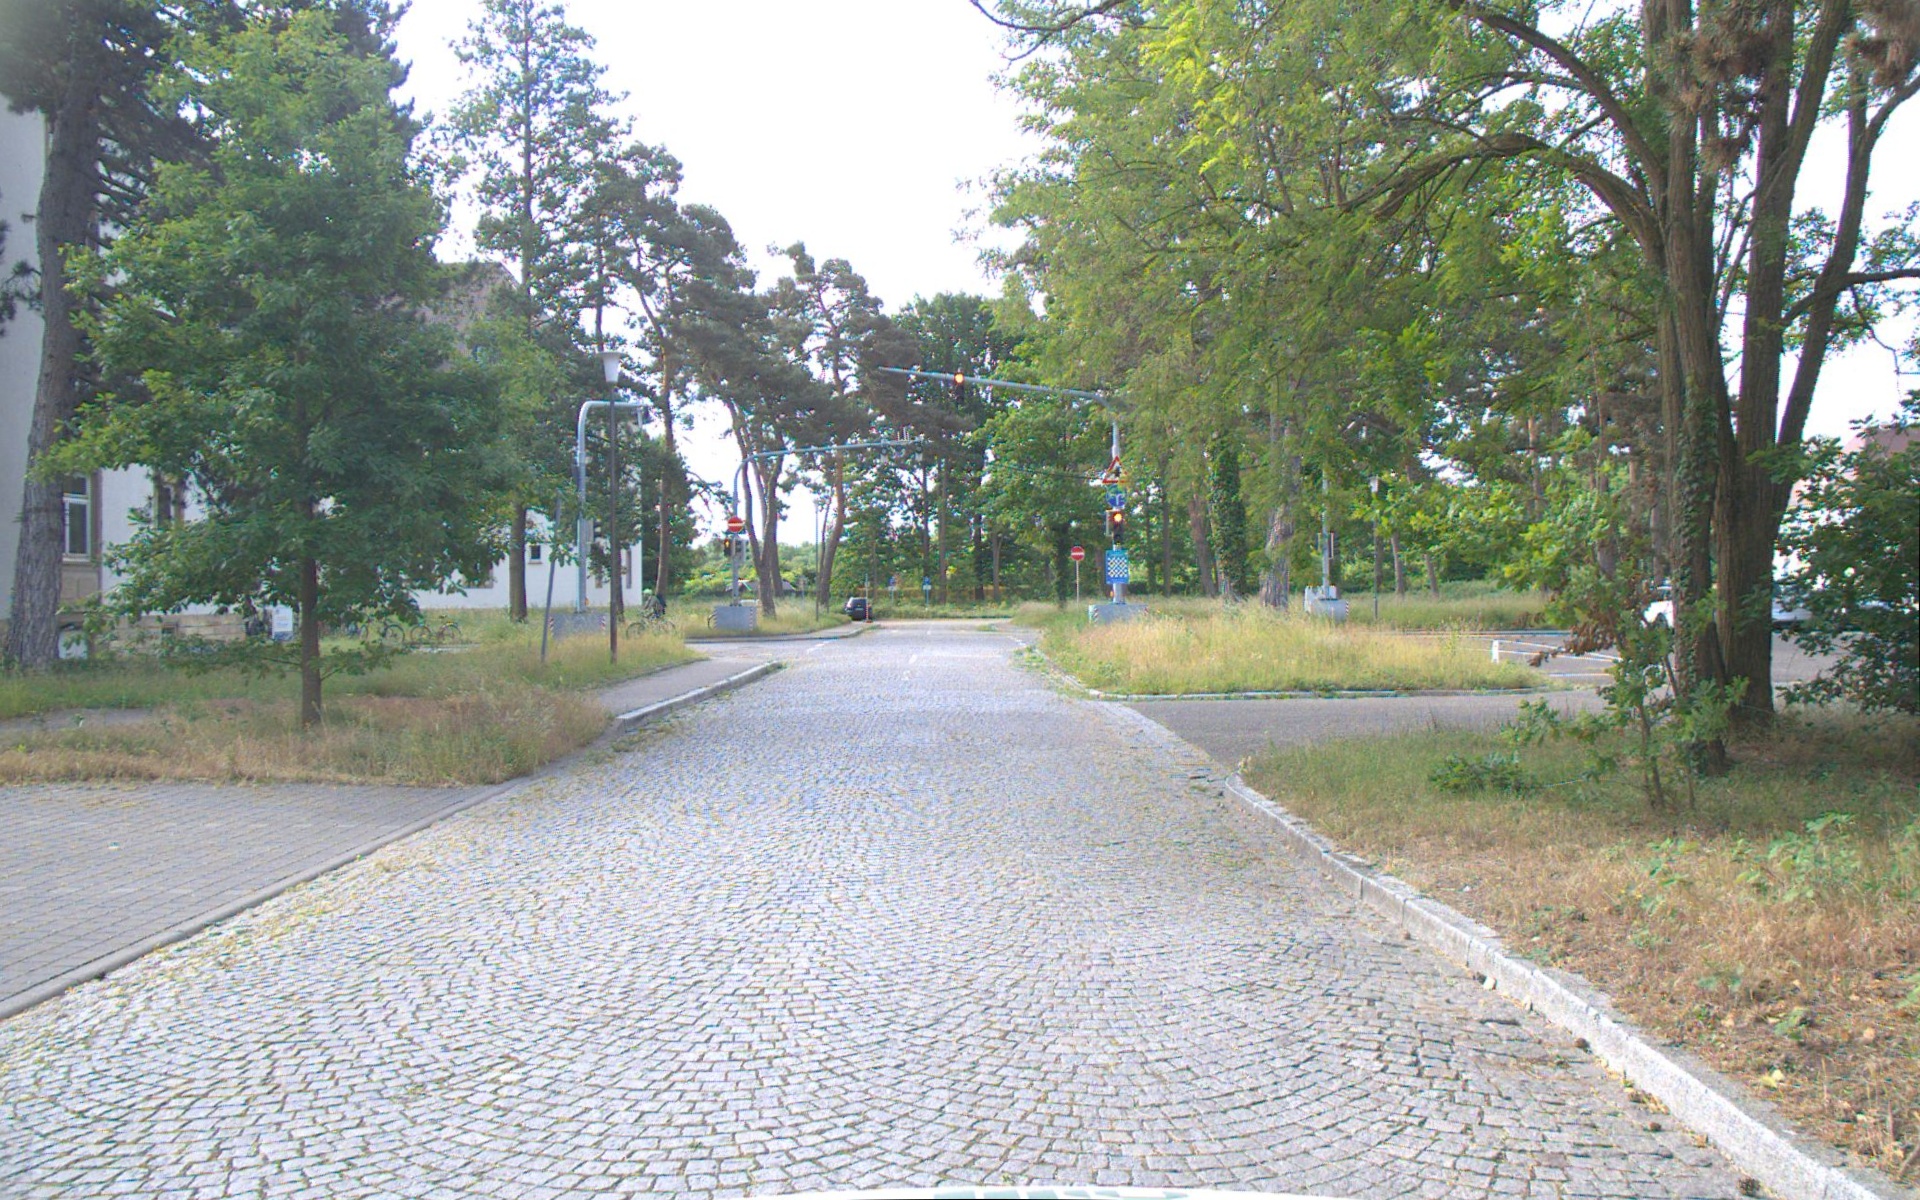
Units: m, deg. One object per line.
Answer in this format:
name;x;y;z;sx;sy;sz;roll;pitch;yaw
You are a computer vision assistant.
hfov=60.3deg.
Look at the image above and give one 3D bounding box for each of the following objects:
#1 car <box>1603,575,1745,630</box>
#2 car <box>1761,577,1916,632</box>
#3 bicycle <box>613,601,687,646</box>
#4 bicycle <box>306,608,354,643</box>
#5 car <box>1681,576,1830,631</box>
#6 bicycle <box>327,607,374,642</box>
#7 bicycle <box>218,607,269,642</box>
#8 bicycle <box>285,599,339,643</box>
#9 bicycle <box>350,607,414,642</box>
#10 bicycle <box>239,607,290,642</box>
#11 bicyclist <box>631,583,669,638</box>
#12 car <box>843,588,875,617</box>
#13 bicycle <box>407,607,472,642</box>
car;20.671;0.106;48.090;1.954;1.507;4.421;-1;-1;-4
car;25.748;0.176;48.642;1.954;1.507;4.421;-1;-1;-4
bicycle;-9.986;0.748;53.338;2.160;1.411;0.927;-1;0;-35
bicycle;-20.841;0.822;54.770;0.721;1.095;2.273;-1;0;0
car;23.136;0.140;48.308;1.954;1.507;4.421;-1;-1;-4
bicycle;-20.213;0.809;54.860;0.721;1.095;2.273;-1;0;0
bicycle;-23.710;0.808;54.768;0.721;1.095;2.273;-1;0;0
bicycle;-21.577;0.679;55.114;0.721;1.410;2.711;-1;0;0
bicycle;-18.738;0.786;53.632;1.818;1.095;0.738;-1;0;1
bicycle;-22.991;0.803;54.708;0.721;1.095;2.273;-1;0;0
bicyclist;-10.000;0.341;53.327;0.912;1.727;0.945;0;-1;-34
car;-6.761;0.131;111.191;2.014;1.878;3.999;-1;0;-2
bicycle;-16.887;0.776;53.700;1.818;1.095;0.831;-1;0;1
